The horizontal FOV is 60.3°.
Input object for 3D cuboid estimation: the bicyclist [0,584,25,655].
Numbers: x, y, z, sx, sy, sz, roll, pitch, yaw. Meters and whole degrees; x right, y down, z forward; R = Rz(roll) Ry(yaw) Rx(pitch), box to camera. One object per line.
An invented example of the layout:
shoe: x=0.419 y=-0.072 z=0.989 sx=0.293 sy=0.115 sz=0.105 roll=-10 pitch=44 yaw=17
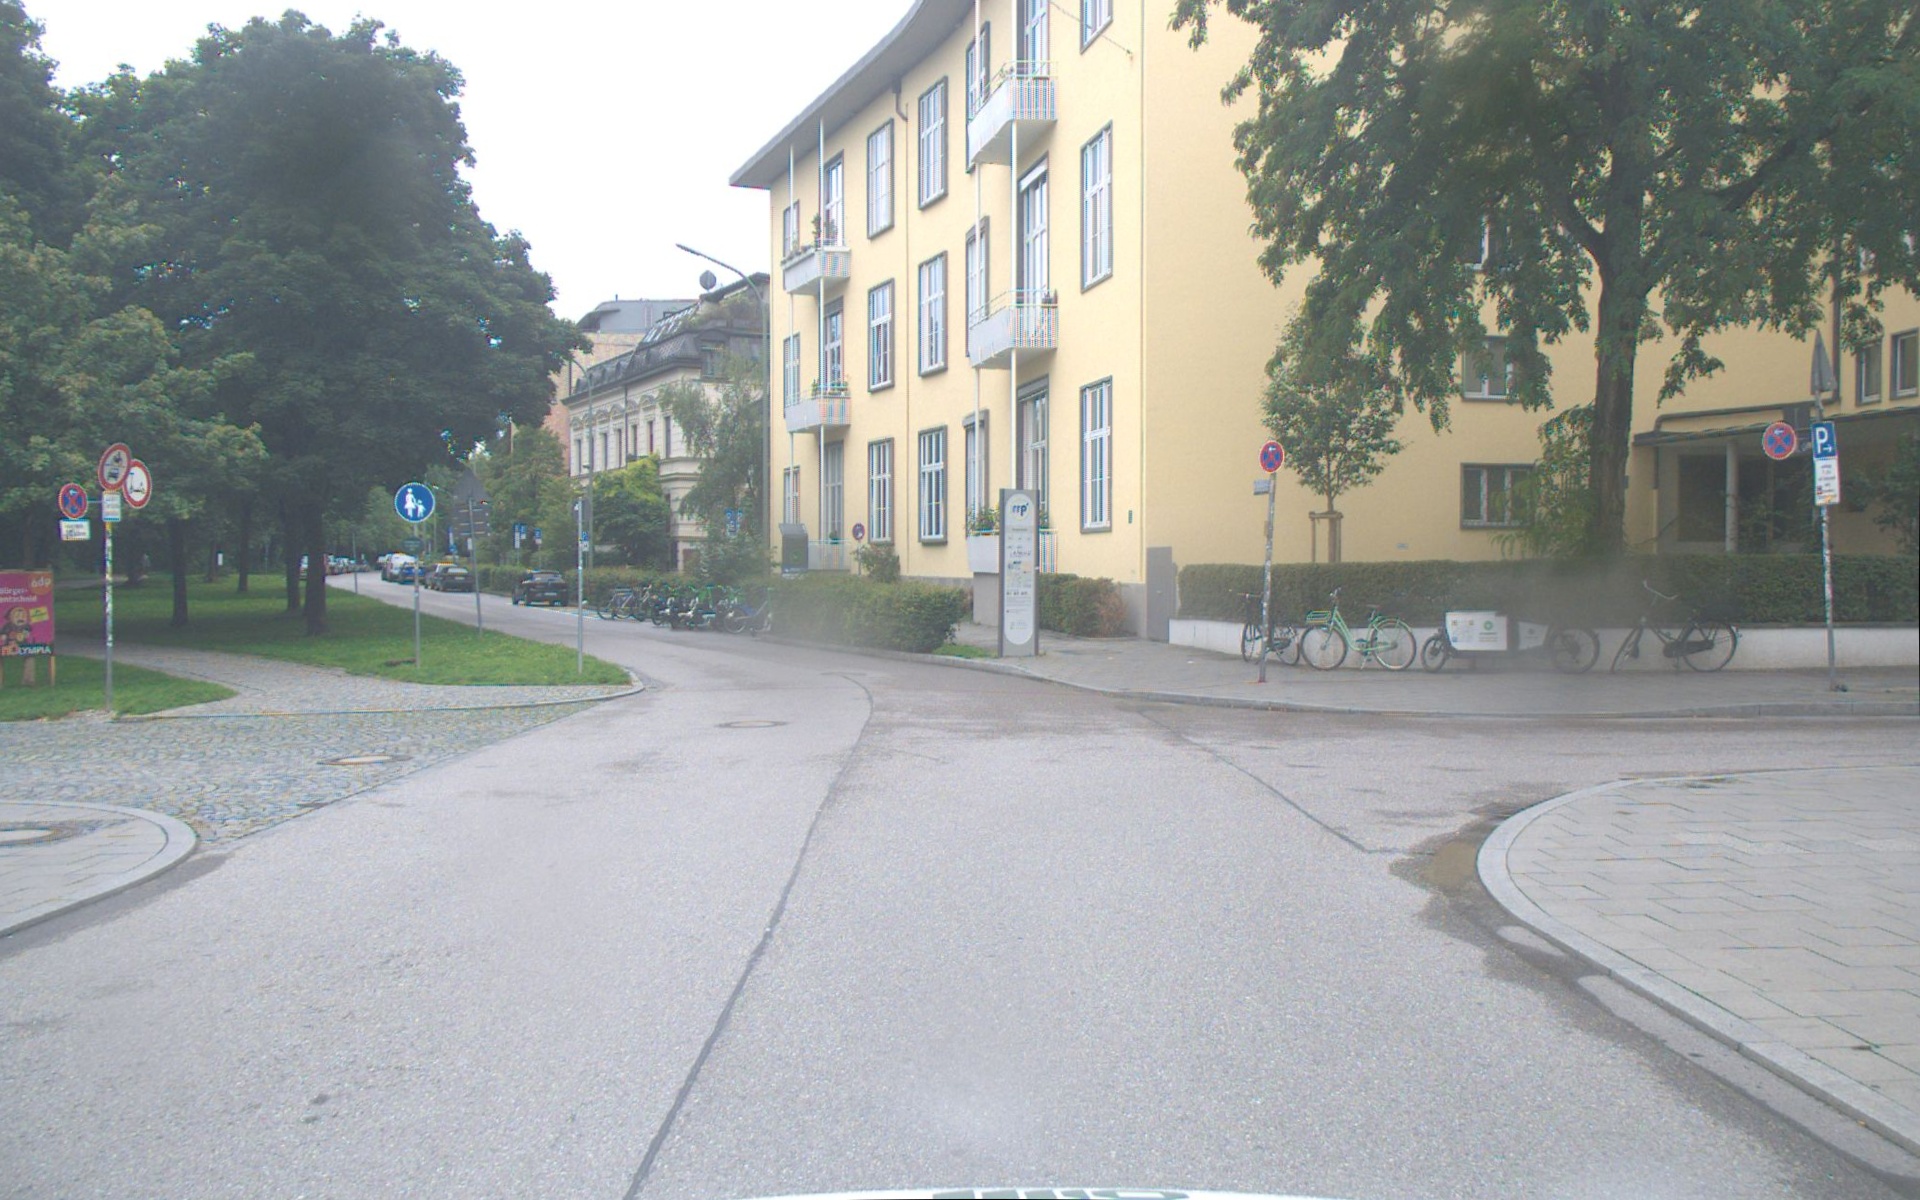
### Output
bicyclist: x=-20.424 y=0.413 z=35.258 sx=0.632 sy=1.486 sz=0.628 roll=0 pitch=1 yaw=35

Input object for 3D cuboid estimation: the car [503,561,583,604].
car: x=-17.068 y=-0.743 z=67.912 sx=1.824 sy=1.662 sz=4.287 roll=-1 pitch=2 yaw=5

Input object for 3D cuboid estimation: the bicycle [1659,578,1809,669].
bicycle: x=10.221 y=0.306 z=21.880 sx=1.698 sy=1.170 sz=0.610 roll=0 pitch=1 yaw=5

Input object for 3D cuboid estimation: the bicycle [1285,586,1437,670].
bicycle: x=5.707 y=0.380 z=23.652 sx=0.604 sy=1.136 sz=2.185 roll=-1 pitch=1 yaw=-40

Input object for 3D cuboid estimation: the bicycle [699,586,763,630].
bicycle: x=-6.141 y=0.202 z=44.370 sx=0.565 sy=1.104 sz=1.928 roll=-1 pitch=2 yaw=32

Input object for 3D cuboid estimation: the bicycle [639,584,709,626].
bicycle: x=-8.015 y=0.126 z=46.433 sx=0.682 sy=1.104 sz=2.337 roll=-1 pitch=1 yaw=25

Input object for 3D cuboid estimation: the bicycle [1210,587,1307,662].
bicycle: x=4.655 y=0.359 z=25.931 sx=0.598 sy=1.091 sz=2.208 roll=-2 pitch=1 yaw=-15

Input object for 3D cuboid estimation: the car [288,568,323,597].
car: x=-42.424 y=-1.141 z=107.193 sx=1.967 sy=1.870 sz=3.970 roll=-1 pitch=1 yaw=-24

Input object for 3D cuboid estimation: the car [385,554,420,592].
car: x=-39.834 y=-1.911 z=118.141 sx=1.851 sy=2.613 sz=4.894 roll=-1 pitch=1 yaw=-24

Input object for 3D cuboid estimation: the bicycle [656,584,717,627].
bicycle: x=-7.538 y=0.132 z=45.686 sx=0.624 sy=1.104 sz=1.984 roll=-1 pitch=1 yaw=25

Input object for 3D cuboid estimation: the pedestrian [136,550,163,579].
pedestrian: x=-57.453 y=-2.521 z=117.237 sx=1.010 sy=1.979 sz=1.328 roll=-1 pitch=1 yaw=22

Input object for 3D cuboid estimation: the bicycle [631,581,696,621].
bicycle: x=-8.631 y=0.016 z=48.228 sx=0.747 sy=1.104 sz=2.140 roll=-1 pitch=1 yaw=25

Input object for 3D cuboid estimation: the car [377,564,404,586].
car: x=-44.340 y=-1.927 z=128.733 sx=1.623 sy=1.681 sz=4.253 roll=-1 pitch=1 yaw=-23

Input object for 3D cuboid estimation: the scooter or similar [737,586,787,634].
scooter or similar: x=-4.881 y=0.234 z=40.829 sx=0.486 sy=1.128 sz=1.408 roll=-1 pitch=1 yaw=29

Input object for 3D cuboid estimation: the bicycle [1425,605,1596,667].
bicycle: x=7.425 y=0.477 z=22.343 sx=2.165 sy=0.792 sz=0.610 roll=0 pitch=1 yaw=22

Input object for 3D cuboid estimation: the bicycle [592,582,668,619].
bicycle: x=-10.776 y=0.012 z=54.050 sx=2.306 sy=1.104 sz=0.686 roll=-2 pitch=1 yaw=-30

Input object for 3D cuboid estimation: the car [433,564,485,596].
car: x=-27.592 y=-1.095 z=90.967 sx=2.148 sy=1.686 sz=4.471 roll=-1 pitch=1 yaw=-25

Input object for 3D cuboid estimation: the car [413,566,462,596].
car: x=-30.438 y=-1.106 z=96.268 sx=2.148 sy=1.686 sz=4.471 roll=-1 pitch=1 yaw=-25

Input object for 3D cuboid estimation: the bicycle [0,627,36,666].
bicycle: x=-20.465 y=0.997 z=35.198 sx=0.431 sy=0.789 sz=1.356 roll=0 pitch=1 yaw=35

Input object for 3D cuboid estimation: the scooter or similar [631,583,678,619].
scooter or similar: x=-9.670 y=0.025 z=52.329 sx=1.378 sy=1.107 sz=0.596 roll=-2 pitch=1 yaw=-6

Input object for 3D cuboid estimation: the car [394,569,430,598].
car: x=-36.300 y=-1.088 z=109.480 sx=1.851 sy=1.847 sz=3.970 roll=-1 pitch=1 yaw=-24

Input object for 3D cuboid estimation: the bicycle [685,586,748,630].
bicycle: x=-6.606 y=0.214 z=44.950 sx=0.565 sy=1.104 sz=1.928 roll=-1 pitch=2 yaw=32

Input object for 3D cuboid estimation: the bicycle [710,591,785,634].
bicycle: x=-5.406 y=0.302 z=42.143 sx=1.801 sy=1.023 sz=0.572 roll=-2 pitch=1 yaw=-27

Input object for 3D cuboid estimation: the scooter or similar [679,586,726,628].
scooter or similar: x=-7.053 y=0.187 z=45.325 sx=0.486 sy=1.107 sz=1.408 roll=-1 pitch=1 yaw=29
